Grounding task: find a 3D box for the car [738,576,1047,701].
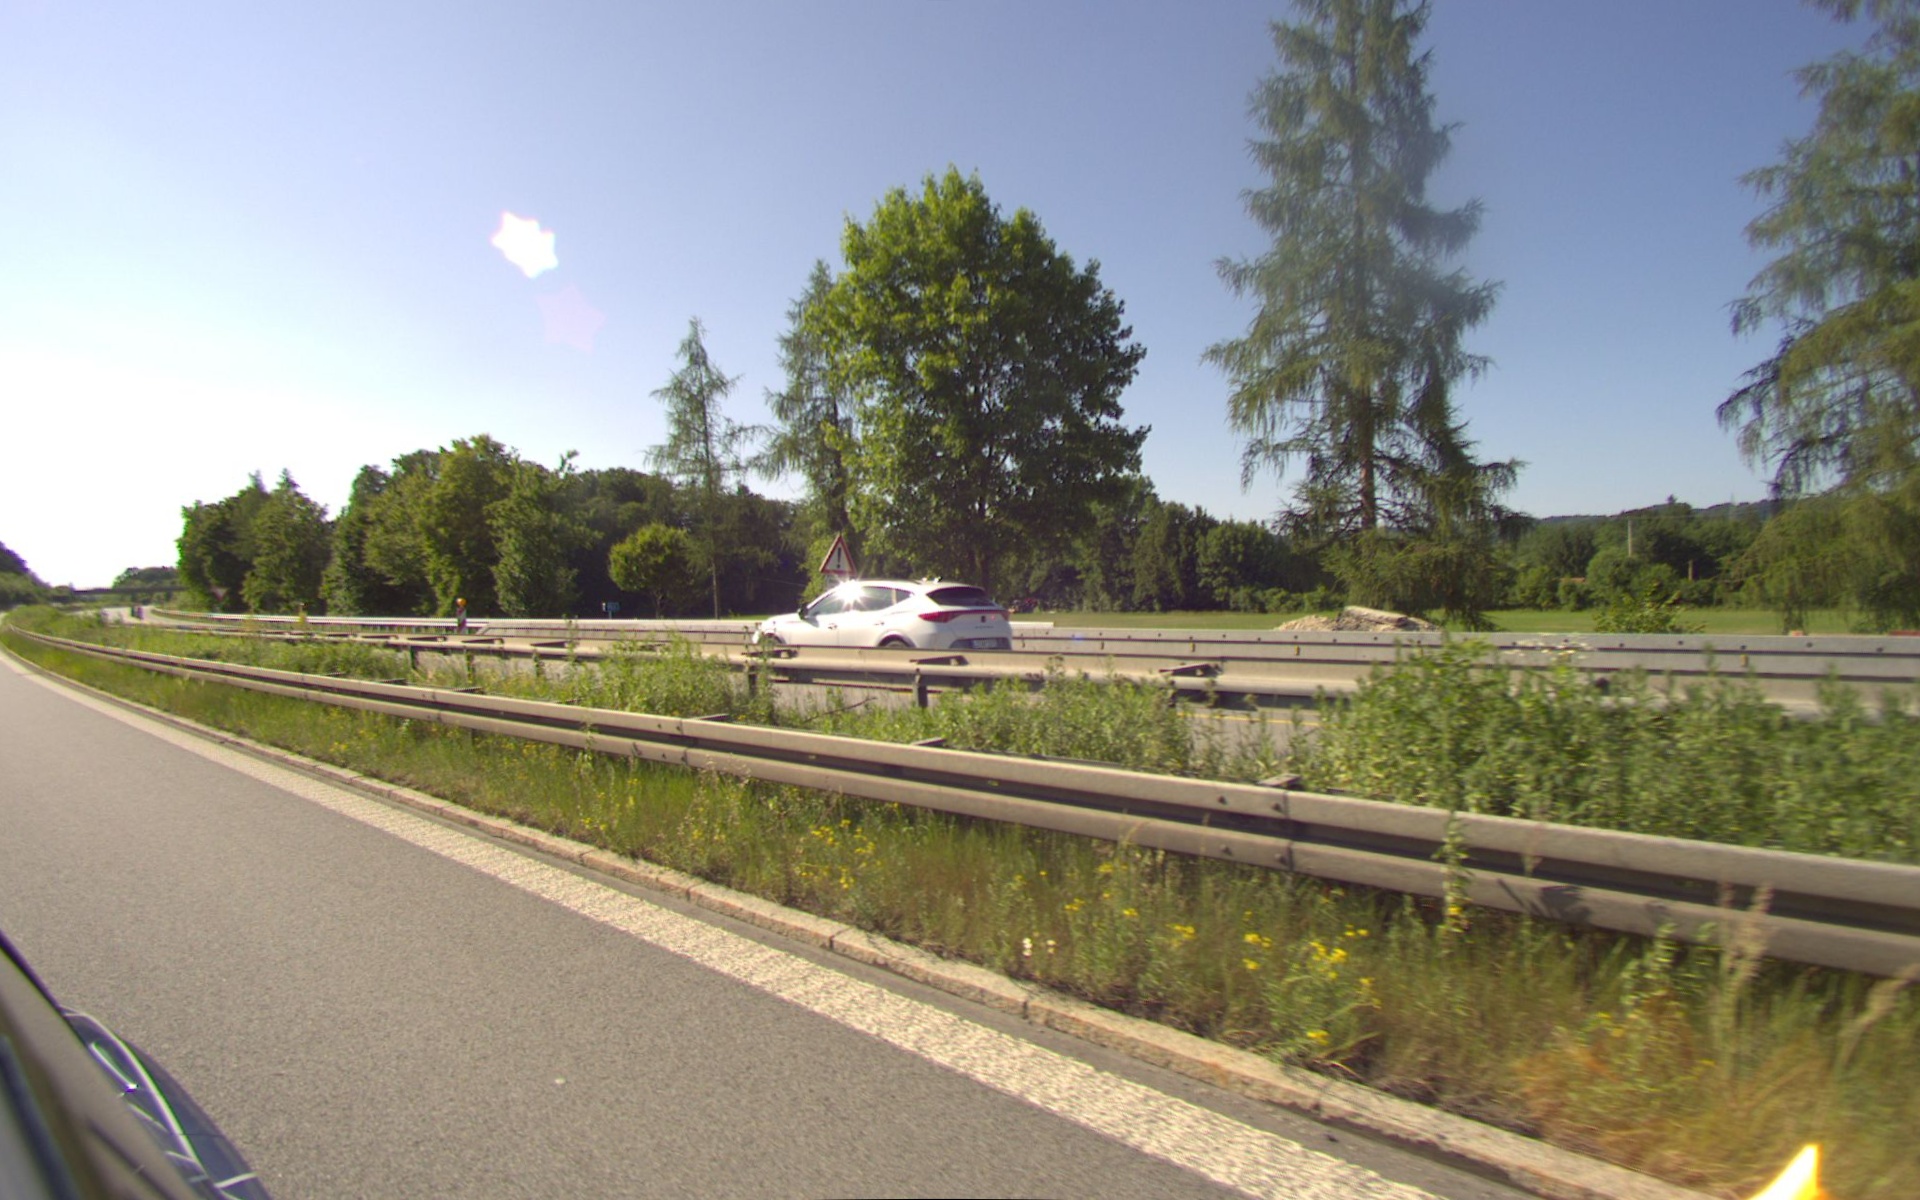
[{"bbox_3d":[-1.095,0.482,14.446,4.533,1.523,1.741,-1,-1,42],"label":"car"}]
